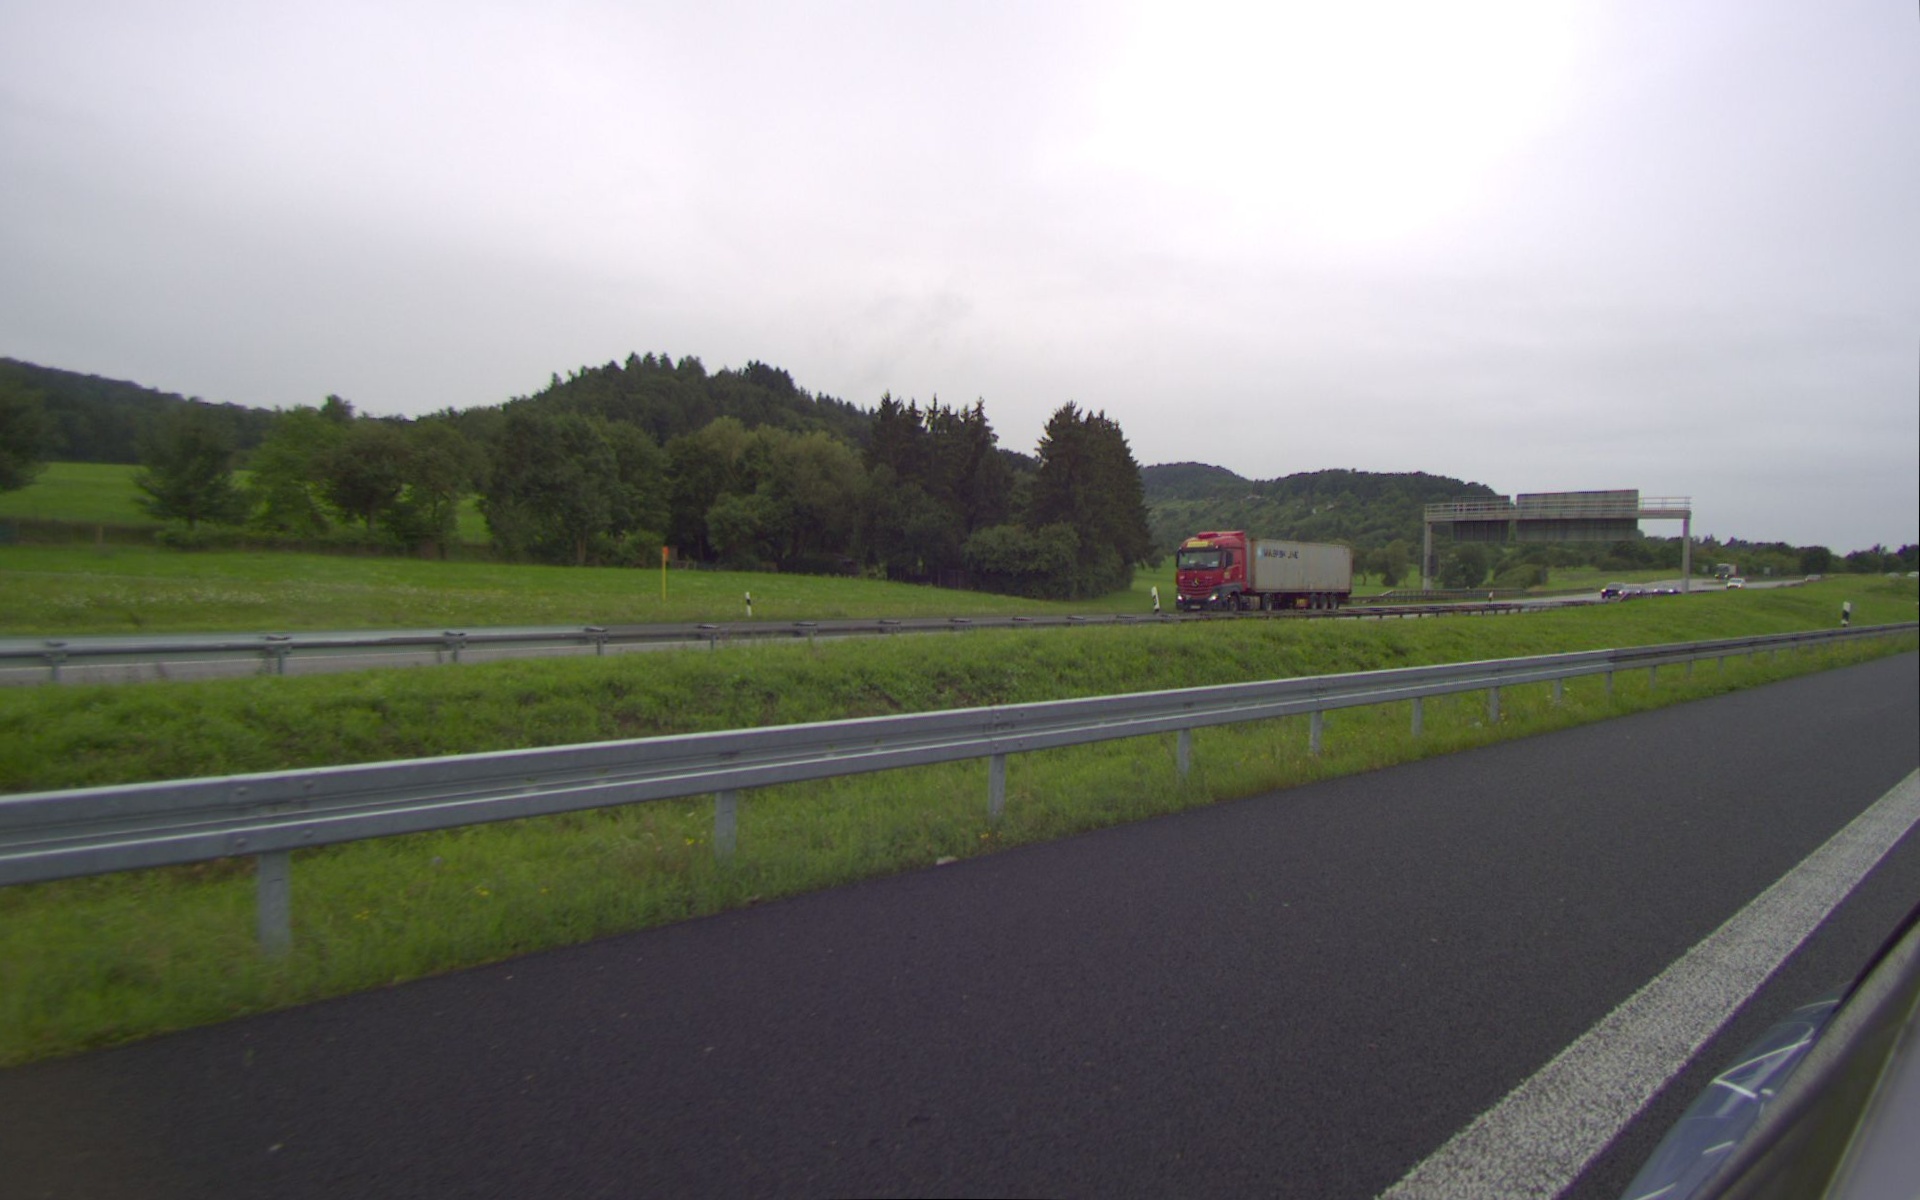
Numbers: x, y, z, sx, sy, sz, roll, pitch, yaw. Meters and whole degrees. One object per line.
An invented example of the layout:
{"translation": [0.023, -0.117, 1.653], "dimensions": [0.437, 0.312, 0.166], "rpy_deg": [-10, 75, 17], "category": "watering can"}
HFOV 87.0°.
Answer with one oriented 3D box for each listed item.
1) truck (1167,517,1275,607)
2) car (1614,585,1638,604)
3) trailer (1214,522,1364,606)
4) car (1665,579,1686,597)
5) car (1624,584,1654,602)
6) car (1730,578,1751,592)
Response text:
{"translation": [12.447, -1.710, 48.042], "dimensions": [2.507, 4.037, 5.836], "rpy_deg": [-1, 0, 43], "category": "truck"}
{"translation": [73.558, -0.573, 111.731], "dimensions": [1.648, 2.039, 3.939], "rpy_deg": [2, 1, 42], "category": "car"}
{"translation": [17.695, -1.768, 53.624], "dimensions": [2.490, 4.034, 12.210], "rpy_deg": [-1, 0, 44], "category": "trailer"}
{"translation": [81.141, -1.339, 114.705], "dimensions": [1.646, 2.039, 3.943], "rpy_deg": [1, 1, 40], "category": "car"}
{"translation": [67.008, -0.710, 99.786], "dimensions": [1.991, 1.742, 4.255], "rpy_deg": [2, 1, 40], "category": "car"}
{"translation": [120.823, -2.312, 156.657], "dimensions": [3.935, 2.039, 1.995], "rpy_deg": [0, 1, -45], "category": "car"}
